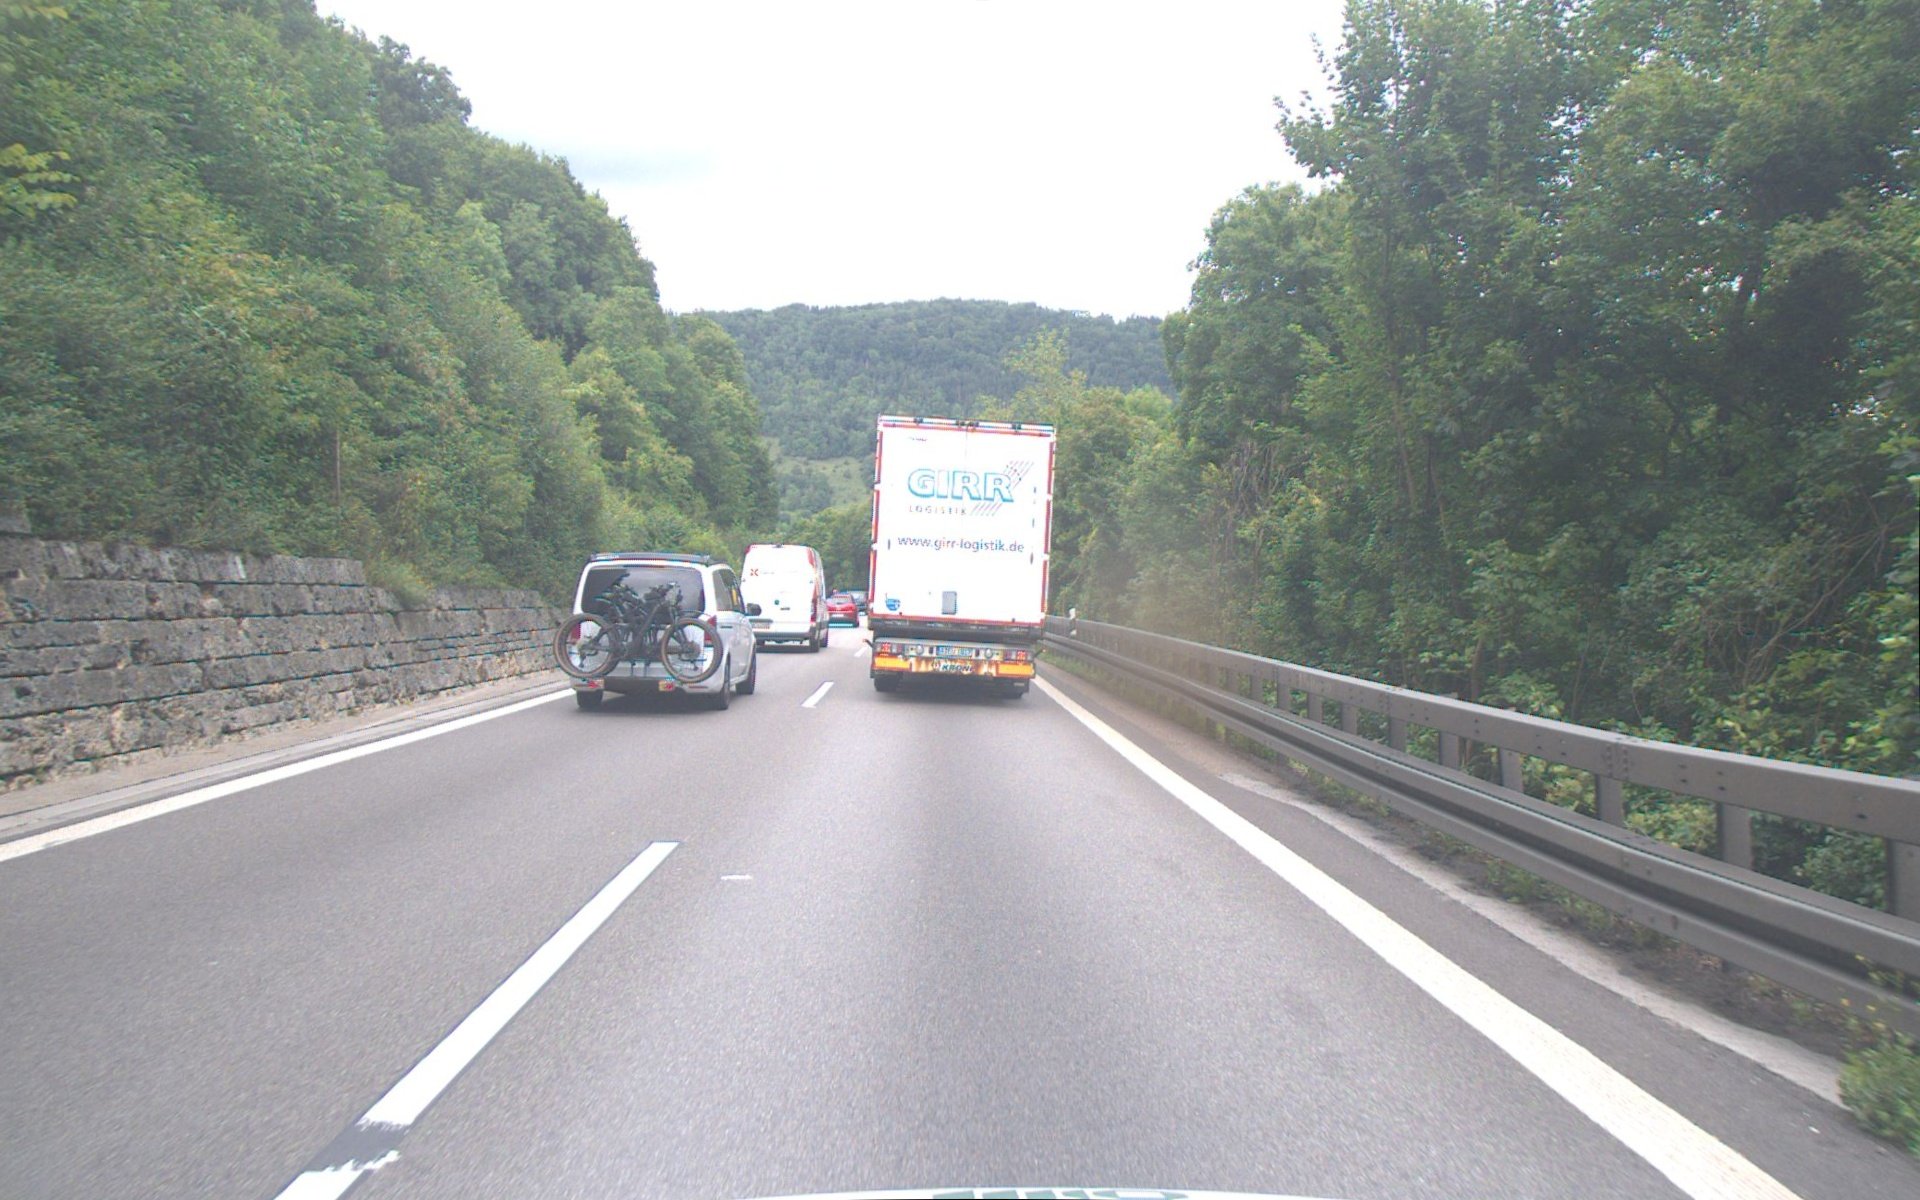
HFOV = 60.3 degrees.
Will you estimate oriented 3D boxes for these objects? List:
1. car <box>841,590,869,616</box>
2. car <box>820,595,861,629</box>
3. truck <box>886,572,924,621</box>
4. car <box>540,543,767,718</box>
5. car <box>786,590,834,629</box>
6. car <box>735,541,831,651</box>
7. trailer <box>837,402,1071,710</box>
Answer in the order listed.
[{"bbox_3d":[-7.195,0.225,113.320,1.799,1.719,4.416,-1,0,-2],"label":"car"},{"bbox_3d":[-5.311,0.514,73.611,1.649,1.478,3.764,0,0,-2],"label":"car"},{"bbox_3d":[-4.569,-0.240,138.788,3.007,3.945,8.455,1,0,-2],"label":"truck"},{"bbox_3d":[-3.810,0.332,21.620,1.977,1.948,5.562,1,0,-1],"label":"car"},{"bbox_3d":[-6.135,0.386,68.017,1.649,1.540,3.764,1,0,-1],"label":"car"},{"bbox_3d":[-4.440,-0.110,42.282,2.081,2.644,5.560,0,0,-2],"label":"car"},{"bbox_3d":[-0.145,-0.627,27.468,3.069,4.113,9.437,2,0,-1],"label":"trailer"}]
